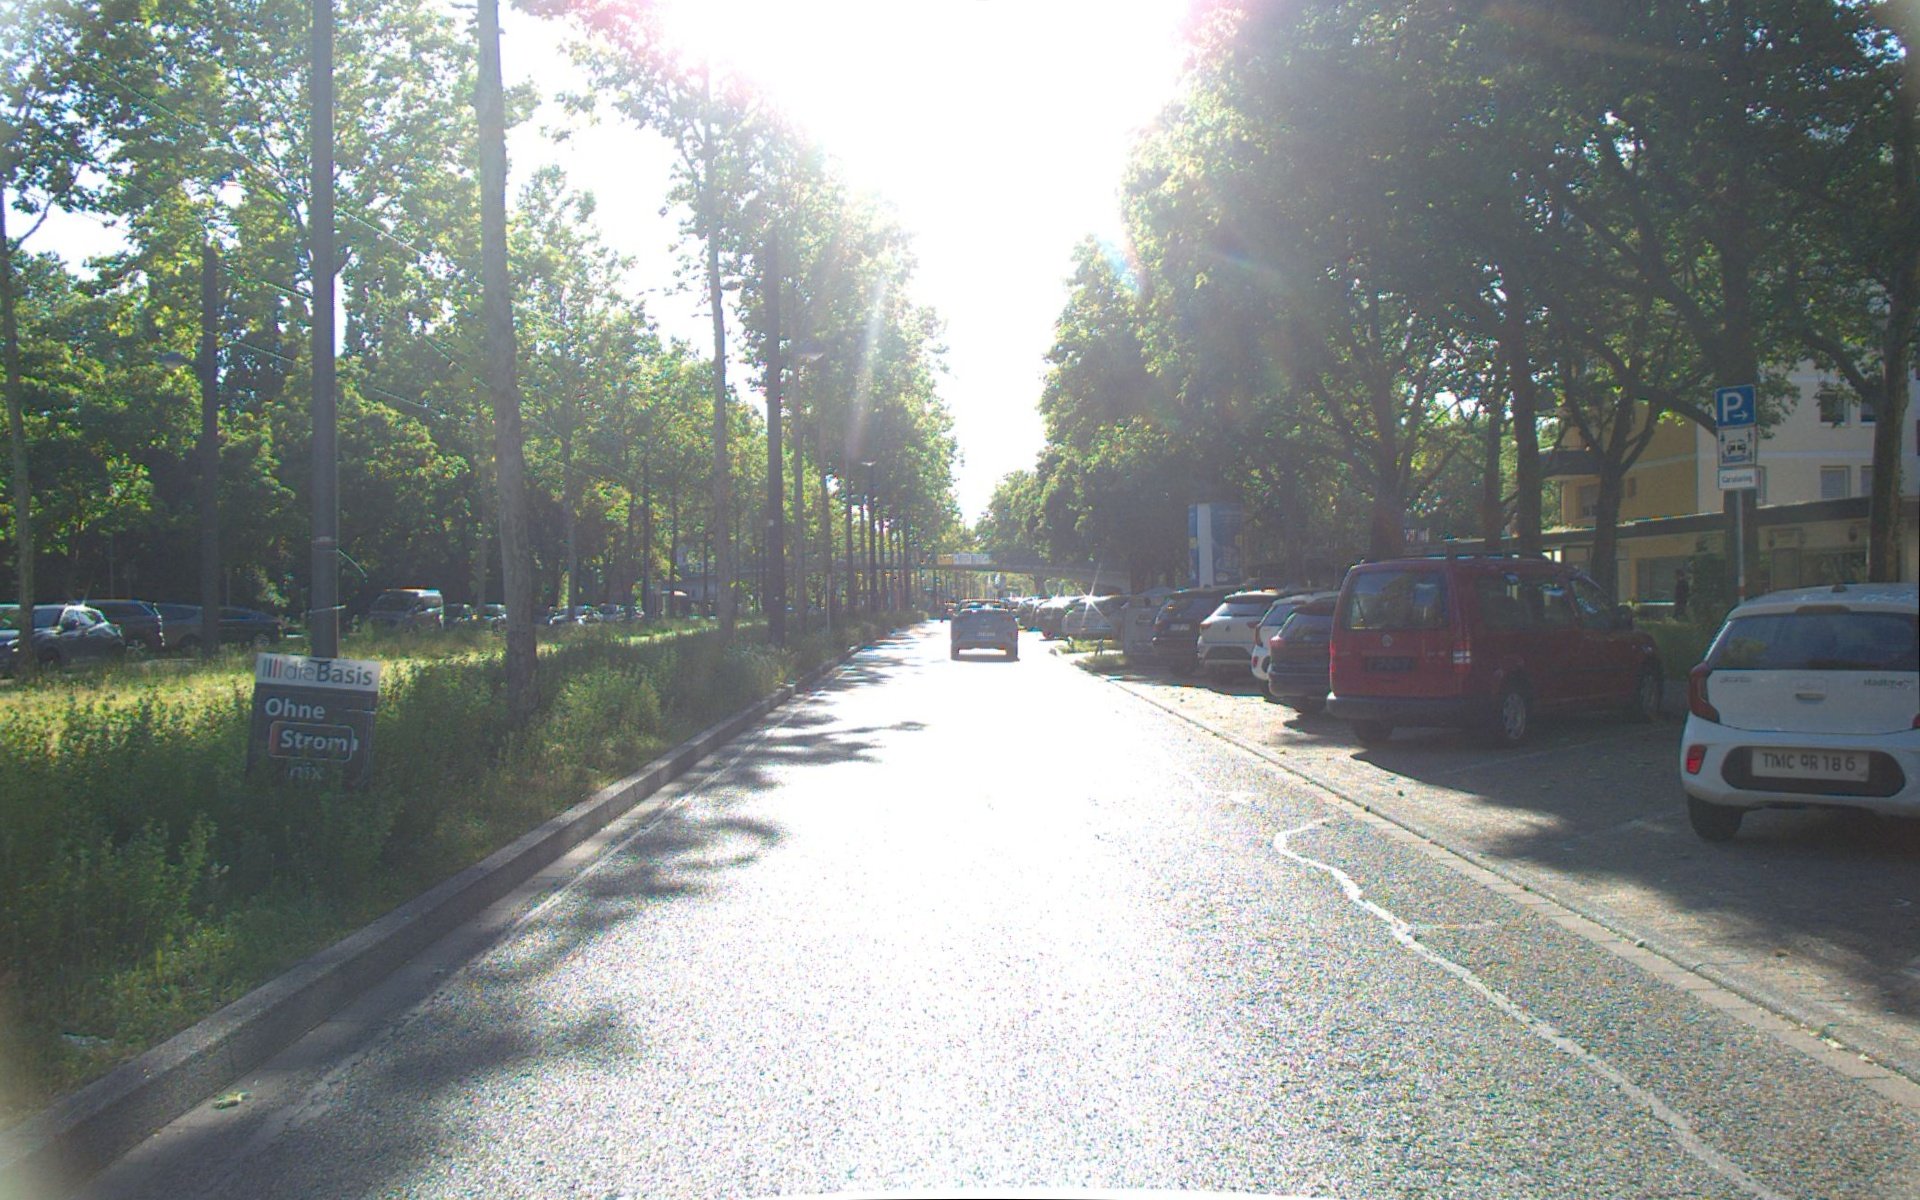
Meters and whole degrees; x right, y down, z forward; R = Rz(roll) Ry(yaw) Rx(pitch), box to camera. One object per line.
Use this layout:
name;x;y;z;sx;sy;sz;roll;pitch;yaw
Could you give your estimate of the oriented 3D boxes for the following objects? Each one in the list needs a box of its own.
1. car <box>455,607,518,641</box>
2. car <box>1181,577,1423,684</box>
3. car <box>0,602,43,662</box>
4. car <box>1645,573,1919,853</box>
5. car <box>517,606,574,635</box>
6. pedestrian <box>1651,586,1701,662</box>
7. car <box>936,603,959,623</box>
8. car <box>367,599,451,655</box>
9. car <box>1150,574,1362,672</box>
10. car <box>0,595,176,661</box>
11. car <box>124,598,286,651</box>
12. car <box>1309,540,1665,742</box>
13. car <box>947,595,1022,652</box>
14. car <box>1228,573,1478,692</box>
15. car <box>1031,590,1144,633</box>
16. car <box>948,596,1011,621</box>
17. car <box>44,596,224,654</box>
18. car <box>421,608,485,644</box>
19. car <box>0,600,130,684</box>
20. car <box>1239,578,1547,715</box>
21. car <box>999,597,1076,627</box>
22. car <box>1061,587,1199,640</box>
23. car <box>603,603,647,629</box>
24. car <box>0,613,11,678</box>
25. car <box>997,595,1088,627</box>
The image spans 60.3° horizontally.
car;-22.362;1.127;78.239;1.834;1.478;3.575;2;0;1
car;5.854;0.482;28.164;4.039;1.610;1.759;-2;0;-36
car;-25.538;0.828;41.301;4.439;1.507;1.596;-1;0;-37
car;5.878;0.581;10.573;1.622;1.473;3.605;-2;0;42
car;-22.514;1.094;89.918;1.952;1.478;4.000;2;0;1
pedestrian;18.653;0.615;43.089;0.856;1.947;0.869;-1;0;-9
car;-1.012;1.039;133.792;1.811;1.562;3.866;-1;0;0
car;-22.353;1.048;67.342;1.611;2.130;4.915;2;0;1
car;5.657;0.387;31.352;4.280;1.747;1.612;-1;0;-40
car;-24.119;0.731;45.332;4.452;1.705;1.767;-1;0;-44
car;-24.329;0.765;53.375;4.452;1.596;1.767;-1;0;-44
car;5.539;0.346;17.151;4.049;1.842;1.627;-2;0;-41
car;0.625;0.587;43.917;1.883;1.436;4.000;0;0;0
car;6.045;0.454;25.213;4.053;1.610;1.753;-2;0;-43
car;4.816;0.427;62.034;4.298;1.449;1.826;-2;0;-45
car;1.448;0.624;119.110;4.587;1.799;1.827;1;-1;-44
car;-24.370;0.722;48.884;4.452;1.596;1.767;-1;0;-44
car;-22.482;1.139;73.460;1.611;1.478;3.664;2;0;1
car;-18.478;0.828;32.845;1.885;1.532;4.085;-3;0;-1
car;5.546;0.532;20.986;4.042;1.507;1.629;-2;0;-37
car;4.539;0.702;95.945;4.587;1.710;1.827;1;-1;-44
car;5.309;0.402;51.234;4.461;1.469;1.826;-2;0;-45
car;-22.025;1.046;108.876;1.952;1.617;4.168;2;0;1
car;-24.505;1.104;38.497;3.890;1.513;1.767;-1;0;-44
car;4.044;0.543;80.672;1.945;1.484;4.595;-1;0;43
